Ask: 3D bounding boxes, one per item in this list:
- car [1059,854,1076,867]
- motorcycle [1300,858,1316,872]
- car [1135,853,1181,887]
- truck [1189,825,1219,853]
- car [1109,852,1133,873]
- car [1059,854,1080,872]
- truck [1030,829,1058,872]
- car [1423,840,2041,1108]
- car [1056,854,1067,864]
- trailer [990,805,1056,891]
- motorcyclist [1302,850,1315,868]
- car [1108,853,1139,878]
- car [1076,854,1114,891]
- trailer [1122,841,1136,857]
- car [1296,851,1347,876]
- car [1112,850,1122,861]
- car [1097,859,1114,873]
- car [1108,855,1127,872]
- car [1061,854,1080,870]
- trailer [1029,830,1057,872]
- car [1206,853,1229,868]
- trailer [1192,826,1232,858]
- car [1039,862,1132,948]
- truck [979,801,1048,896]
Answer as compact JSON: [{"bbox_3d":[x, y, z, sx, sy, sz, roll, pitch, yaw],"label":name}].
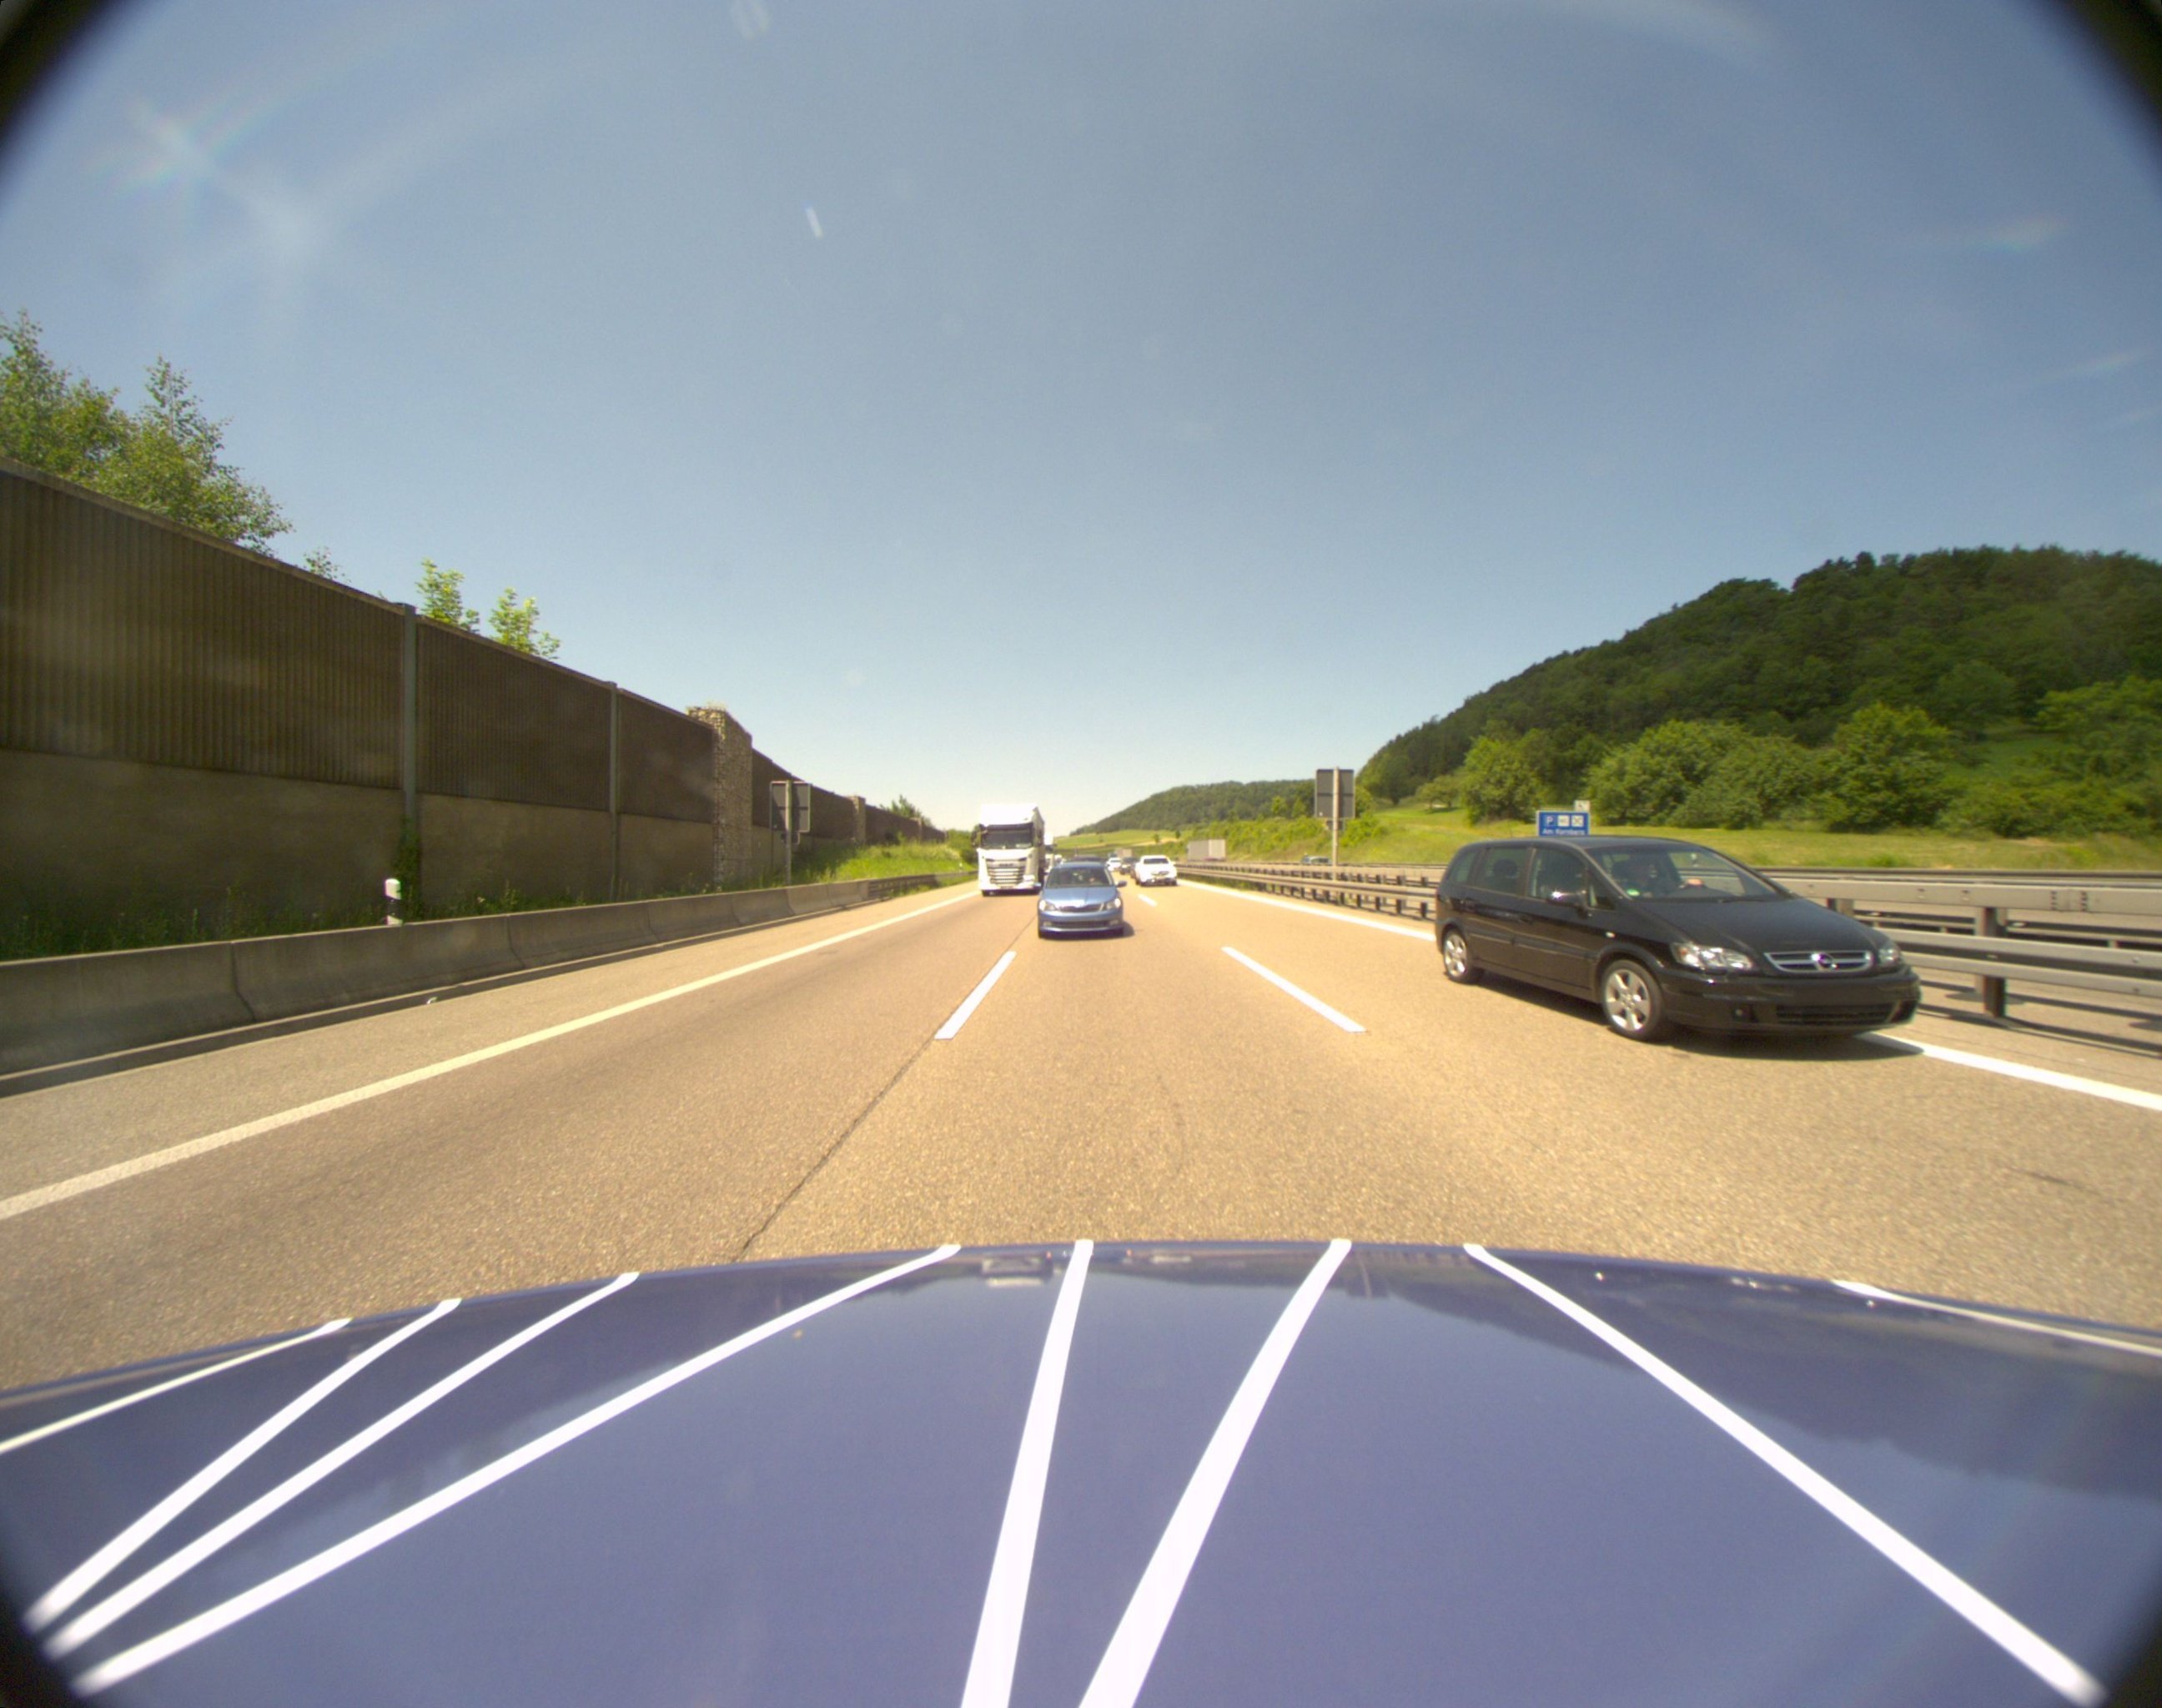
[{"bbox_3d":[-1.811,0.837,101.485,1.999,1.702,3.998,-2,1,-3],"label":"car"},{"bbox_3d":[19.444,0.926,65.037,0.719,1.142,2.129,-1,0,-1],"label":"motorcycle"},{"bbox_3d":[3.995,0.806,40.049,1.998,1.612,4.000,-2,0,1],"label":"car"},{"bbox_3d":[18.749,-2.230,116.526,3.287,4.124,6.954,-2,1,-1],"label":"truck"},{"bbox_3d":[3.524,0.715,67.595,1.998,1.702,4.000,-2,1,1],"label":"car"},{"bbox_3d":[-1.175,0.919,78.758,1.999,1.702,3.998,-2,1,-3],"label":"car"},{"bbox_3d":[-3.764,-0.354,76.797,2.532,4.065,6.077,-2,1,-4],"label":"truck"},{"bbox_3d":[5.024,0.742,6.913,1.805,1.625,4.446,-1,0,0],"label":"car"},{"bbox_3d":[-3.694,0.922,145.971,1.999,1.702,3.998,-2,1,-3],"label":"car"},{"bbox_3d":[-2.930,-0.280,42.354,2.484,3.954,13.655,-1,0,1],"label":"trailer"},{"bbox_3d":[19.437,0.420,64.873,0.846,1.492,0.838,-1,0,-1],"label":"motorcyclist"},{"bbox_3d":[3.016,0.801,54.838,1.998,1.692,4.000,-2,1,1],"label":"car"},{"bbox_3d":[0.625,0.848,37.039,1.737,1.674,4.197,-1,0,0],"label":"car"},{"bbox_3d":[13.011,-1.335,207.686,2.862,4.167,13.613,-2,1,0],"label":"trailer"},{"bbox_3d":[15.558,0.589,49.324,1.998,1.488,4.000,-2,0,0],"label":"car"},{"bbox_3d":[9.549,0.399,199.823,2.161,2.845,6.398,-2,1,0],"label":"car"},{"bbox_3d":[3.090,1.509,96.144,1.998,1.702,4.000,-2,1,1],"label":"car"},{"bbox_3d":[4.099,1.075,85.921,1.998,1.702,4.000,-2,1,1],"label":"car"},{"bbox_3d":[-1.259,0.935,87.602,1.999,1.702,3.998,-2,1,-3],"label":"car"},{"bbox_3d":[-4.223,-0.318,82.510,2.545,4.084,13.622,-2,1,-4],"label":"trailer"},{"bbox_3d":[15.962,0.736,89.106,1.874,1.608,4.355,-1,0,0],"label":"car"},{"bbox_3d":[18.858,-1.703,110.347,3.255,4.180,12.997,-2,1,-1],"label":"trailer"},{"bbox_3d":[-0.012,0.943,16.073,1.660,1.481,4.652,-1,0,-3],"label":"car"},{"bbox_3d":[-3.002,-0.224,35.220,2.484,3.954,6.381,-1,0,0],"label":"truck"}]
